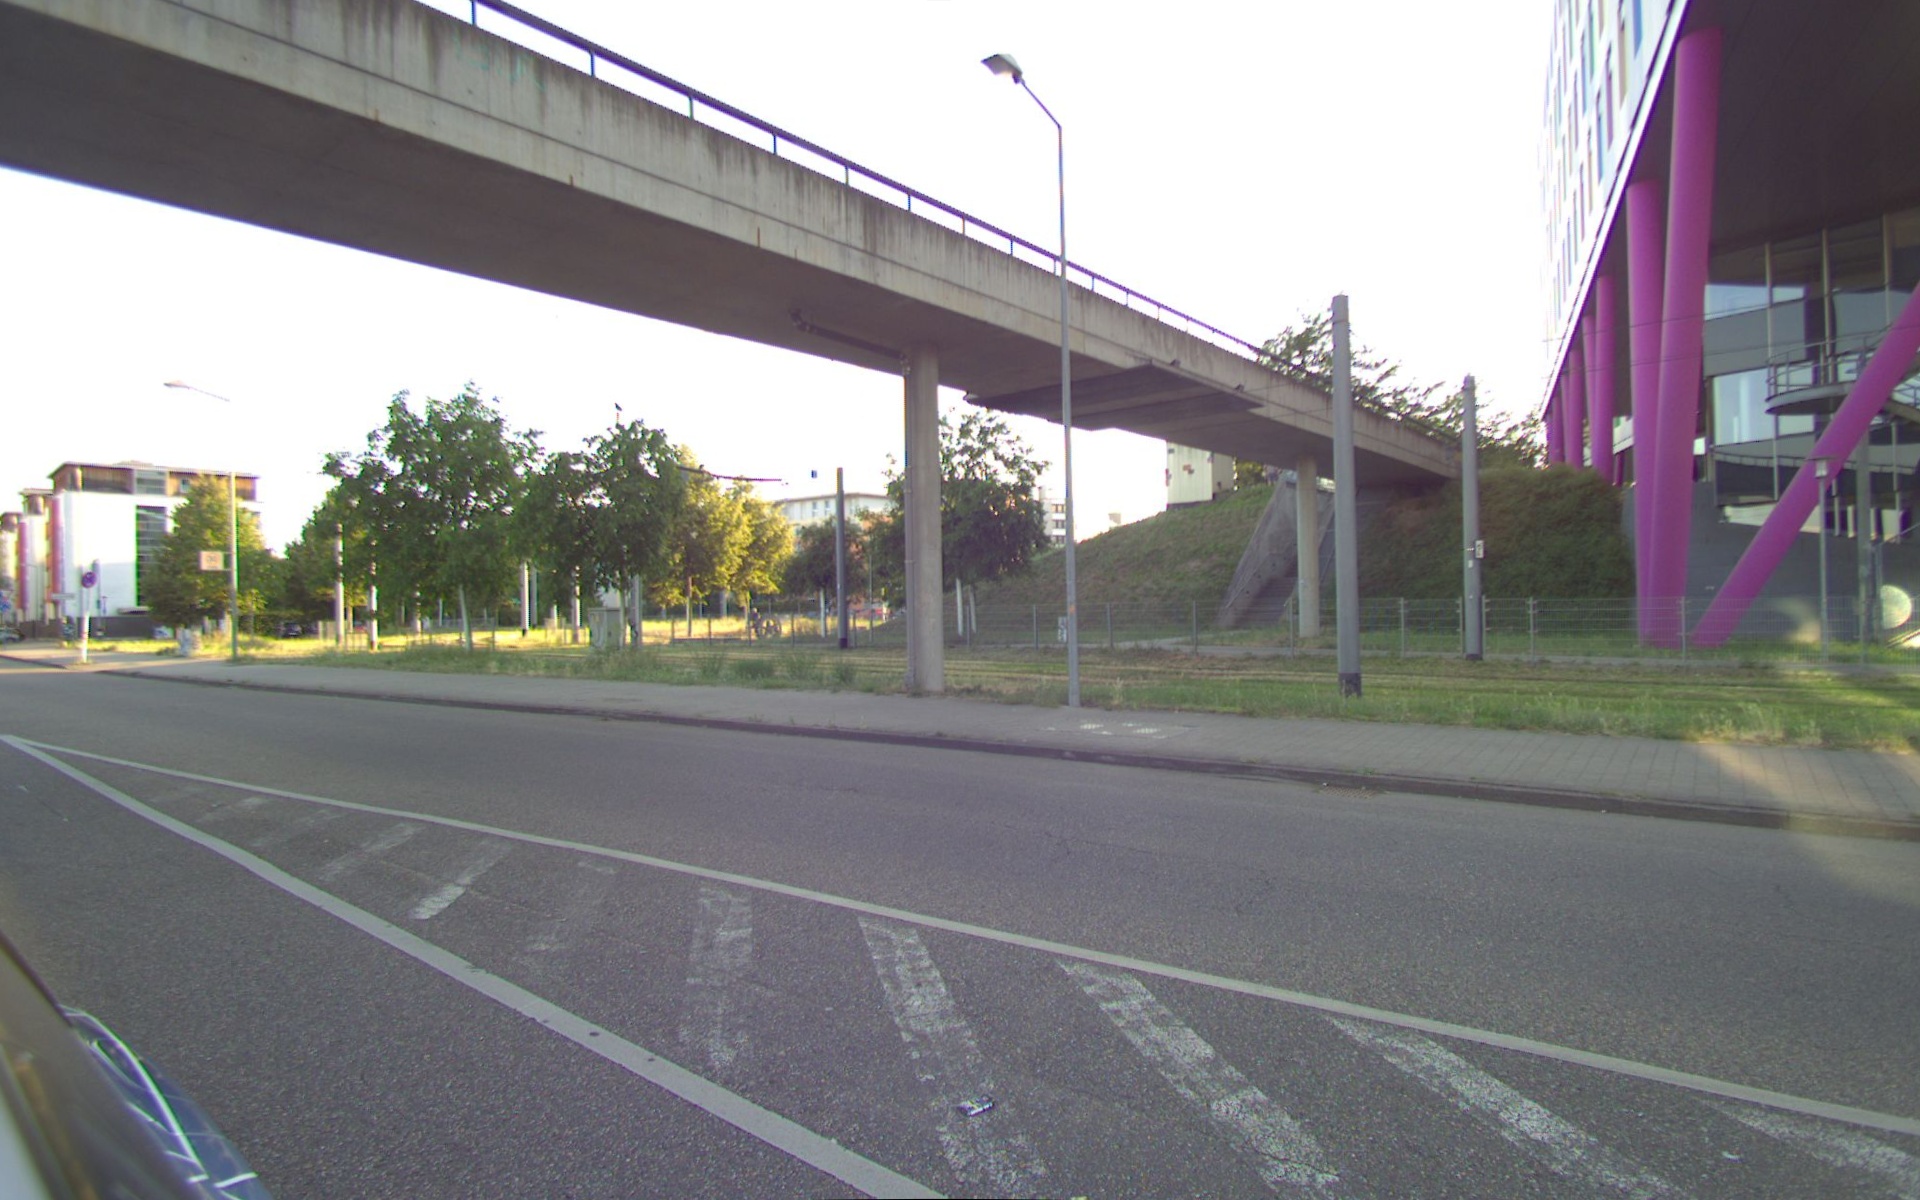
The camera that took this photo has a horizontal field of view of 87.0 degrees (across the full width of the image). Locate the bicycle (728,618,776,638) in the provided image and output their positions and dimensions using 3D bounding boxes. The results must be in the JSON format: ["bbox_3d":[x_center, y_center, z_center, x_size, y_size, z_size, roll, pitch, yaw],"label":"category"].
[{"bbox_3d":[-11.075,1.481,53.968,0.654,1.016,2.808,-2,-1,37],"label":"bicycle"}]

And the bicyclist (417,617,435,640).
[{"bbox_3d":[-45.598,2.441,86.384,0.880,1.890,1.023,-1,-2,30],"label":"bicyclist"}]

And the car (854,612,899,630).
[{"bbox_3d":[-10.143,2.581,123.202,5.445,2.029,2.001,0,-1,-45],"label":"car"}]

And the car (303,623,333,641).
[{"bbox_3d":[-55.276,2.740,87.144,1.913,1.541,4.009,-1,-1,-36],"label":"car"}]

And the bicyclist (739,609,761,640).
[{"bbox_3d":[-11.215,1.322,54.070,0.716,1.644,0.899,-2,-1,35],"label":"bicyclist"}]

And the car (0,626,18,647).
[{"bbox_3d":[-80.367,3.065,83.310,2.000,1.741,3.944,-2,-1,42],"label":"car"}]

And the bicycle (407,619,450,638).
[{"bbox_3d":[-45.425,2.407,86.563,0.885,1.503,3.283,-2,-1,34],"label":"bicycle"}]

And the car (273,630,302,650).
[{"bbox_3d":[-56.993,3.381,85.757,1.913,1.541,4.009,-1,-1,-36],"label":"car"}]
